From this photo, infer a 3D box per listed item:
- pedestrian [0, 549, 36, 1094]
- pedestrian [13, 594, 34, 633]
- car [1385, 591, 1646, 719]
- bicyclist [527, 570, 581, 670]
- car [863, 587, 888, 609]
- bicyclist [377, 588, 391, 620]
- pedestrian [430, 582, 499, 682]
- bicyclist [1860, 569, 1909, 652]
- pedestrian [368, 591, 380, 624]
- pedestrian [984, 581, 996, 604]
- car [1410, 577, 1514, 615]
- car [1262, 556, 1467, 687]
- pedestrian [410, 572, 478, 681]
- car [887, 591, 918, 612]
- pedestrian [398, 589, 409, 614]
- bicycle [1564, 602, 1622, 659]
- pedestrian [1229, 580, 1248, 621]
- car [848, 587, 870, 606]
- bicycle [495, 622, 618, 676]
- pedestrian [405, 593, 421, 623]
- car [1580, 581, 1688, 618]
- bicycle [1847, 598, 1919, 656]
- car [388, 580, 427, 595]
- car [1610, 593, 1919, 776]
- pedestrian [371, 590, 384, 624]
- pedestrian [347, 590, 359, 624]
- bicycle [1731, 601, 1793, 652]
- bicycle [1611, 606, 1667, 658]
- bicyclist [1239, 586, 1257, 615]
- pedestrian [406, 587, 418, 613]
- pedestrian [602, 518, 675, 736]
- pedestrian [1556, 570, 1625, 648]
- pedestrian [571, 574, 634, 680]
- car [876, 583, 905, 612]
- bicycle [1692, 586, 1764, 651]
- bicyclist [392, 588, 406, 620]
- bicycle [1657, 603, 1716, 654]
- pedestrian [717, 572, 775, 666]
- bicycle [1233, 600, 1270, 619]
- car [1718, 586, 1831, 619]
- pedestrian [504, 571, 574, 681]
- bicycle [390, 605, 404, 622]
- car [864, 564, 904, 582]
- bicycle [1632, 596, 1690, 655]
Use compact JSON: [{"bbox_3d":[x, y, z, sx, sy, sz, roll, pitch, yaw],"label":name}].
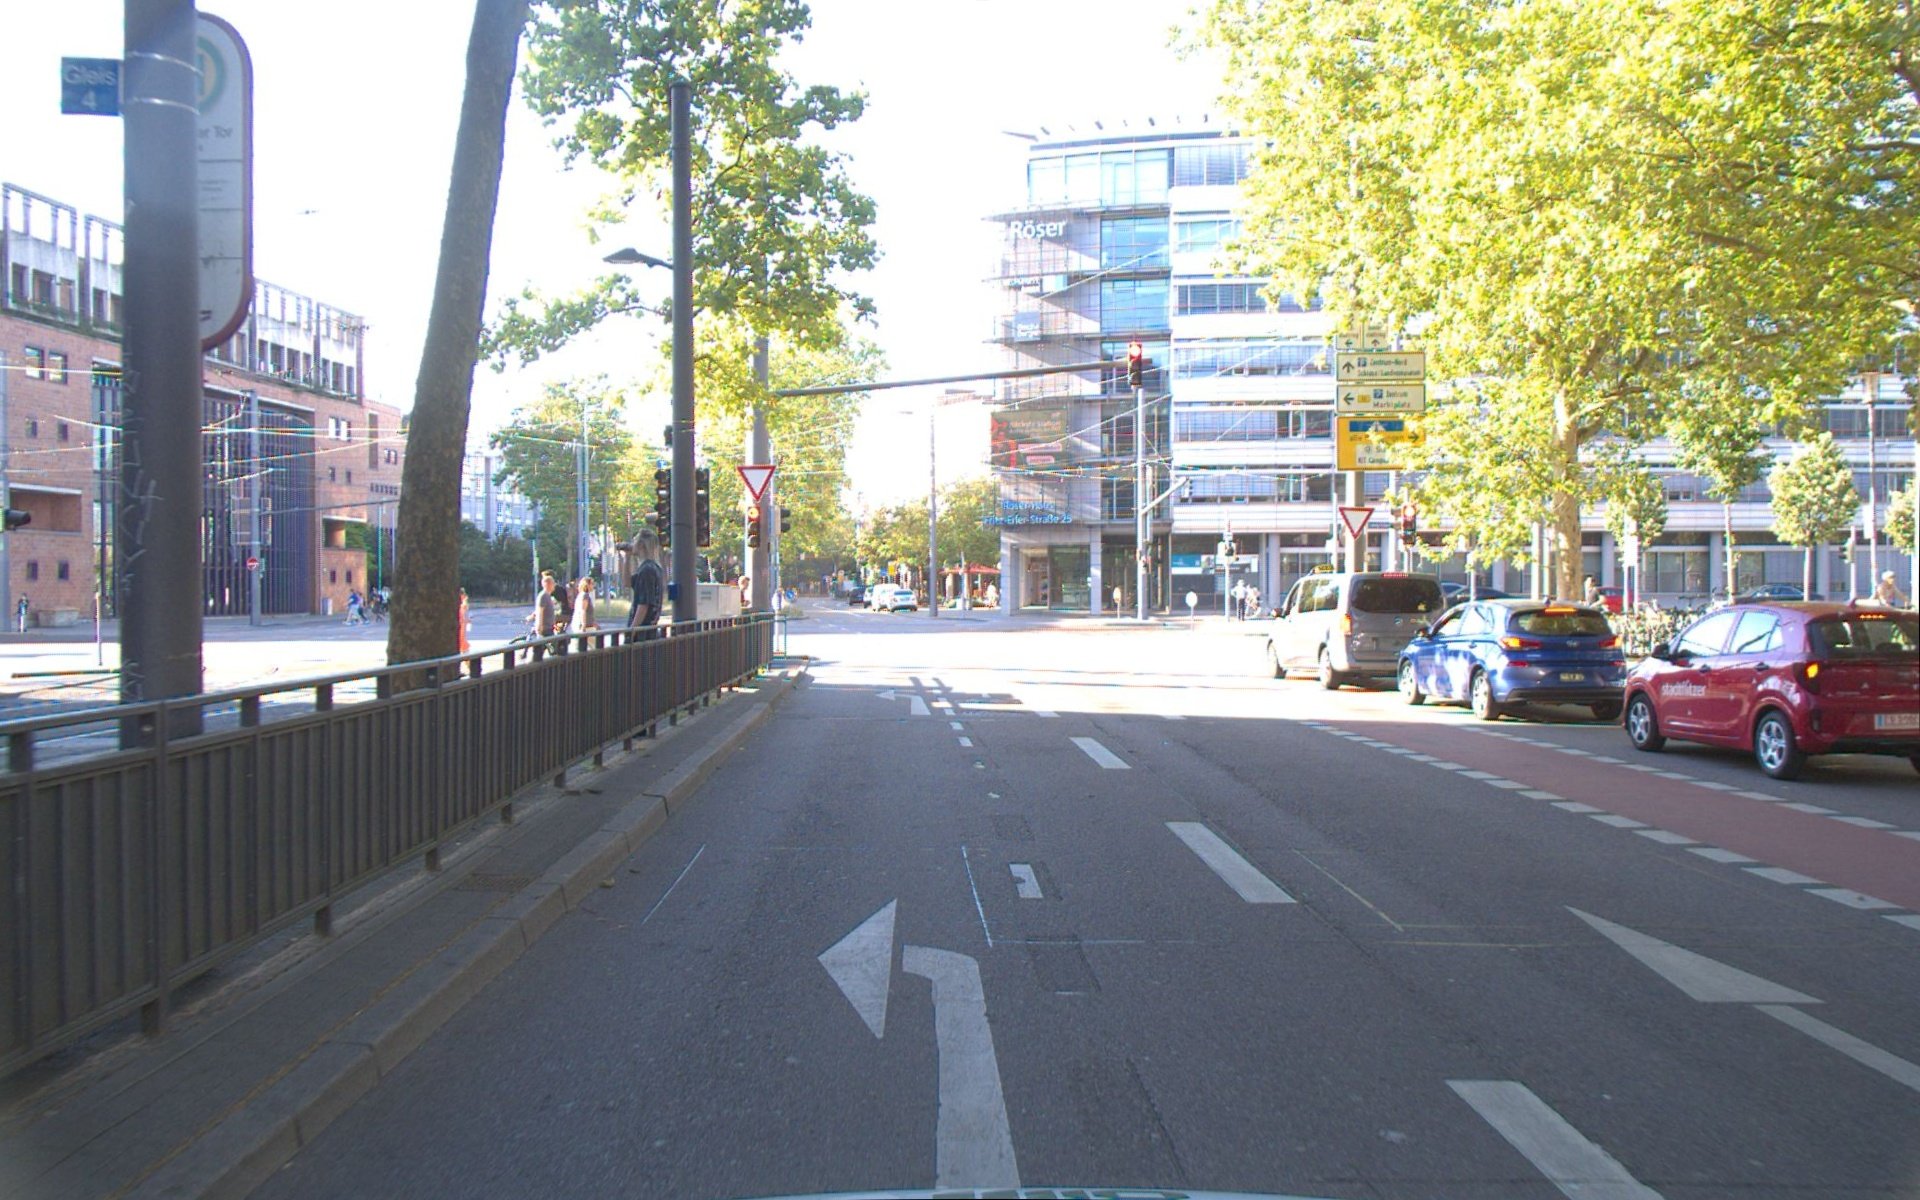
[{"bbox_3d":[-2.981,0.569,4.110,0.956,1.424,0.664,1,-1,1],"label":"pedestrian"},{"bbox_3d":[-40.433,0.579,71.393,0.533,1.641,0.570,-1,0,27],"label":"pedestrian"},{"bbox_3d":[7.154,0.637,21.788,1.730,1.489,4.213,-1,0,-5],"label":"car"},{"bbox_3d":[-7.493,0.355,30.555,0.833,1.816,0.752,-1,0,-5],"label":"bicyclist"},{"bbox_3d":[-6.700,-0.169,131.104,1.954,1.691,3.997,-1,0,-4],"label":"car"},{"bbox_3d":[-31.246,0.195,89.720,0.582,1.705,0.788,-1,0,-10],"label":"bicyclist"},{"bbox_3d":[-8.568,0.554,28.646,1.053,1.711,0.756,1,0,-11],"label":"pedestrian"},{"bbox_3d":[18.791,0.208,33.617,0.550,1.644,0.822,-1,0,3],"label":"bicyclist"},{"bbox_3d":[-29.894,0.378,84.440,0.529,1.679,0.621,-1,0,-22],"label":"pedestrian"},{"bbox_3d":[1.938,-0.466,106.531,0.725,1.491,0.536,-1,0,-5],"label":"pedestrian"},{"bbox_3d":[22.672,-0.184,74.835,4.153,1.630,1.796,-1,0,1],"label":"car"},{"bbox_3d":[6.785,0.324,28.387,1.954,2.000,5.134,1,0,-4],"label":"car"},{"bbox_3d":[-9.134,0.463,29.299,1.054,1.904,0.737,1,0,-11],"label":"pedestrian"},{"bbox_3d":[-3.814,0.073,109.011,1.954,1.355,3.997,-1,0,-4],"label":"car"},{"bbox_3d":[-39.340,0.100,116.887,0.511,1.810,0.546,-1,0,3],"label":"pedestrian"},{"bbox_3d":[12.830,0.601,33.555,0.479,1.112,1.475,-1,0,-5],"label":"bicycle"},{"bbox_3d":[11.747,0.033,69.685,0.705,1.711,0.557,1,0,3],"label":"pedestrian"},{"bbox_3d":[-9.335,-0.314,152.555,1.954,1.691,3.997,-1,0,-4],"label":"car"},{"bbox_3d":[-7.439,0.895,30.559,2.135,0.950,0.667,0,0,-6],"label":"bicycle"},{"bbox_3d":[-28.441,0.415,85.991,0.741,1.557,0.507,1,0,-11],"label":"pedestrian"},{"bbox_3d":[30.212,-0.037,74.211,4.152,1.587,1.796,-1,0,2],"label":"car"},{"bbox_3d":[18.800,0.534,33.713,0.554,1.146,1.779,-1,0,3],"label":"bicycle"},{"bbox_3d":[-62.434,-1.435,186.951,3.953,1.579,1.587,1,-1,-35],"label":"car"},{"bbox_3d":[7.610,0.689,15.373,1.528,1.490,3.619,0,0,-4],"label":"car"},{"bbox_3d":[-29.252,0.337,83.051,0.529,1.679,0.621,-1,0,-22],"label":"pedestrian"},{"bbox_3d":[-30.145,0.327,82.184,0.529,1.679,0.621,-1,0,-22],"label":"pedestrian"},{"bbox_3d":[16.412,0.537,33.875,0.441,1.000,1.475,-1,0,-5],"label":"bicycle"},{"bbox_3d":[13.746,0.636,33.518,0.412,0.996,1.475,-1,0,-5],"label":"bicycle"},{"bbox_3d":[13.946,0.030,80.073,0.802,1.390,0.400,-1,0,2],"label":"bicyclist"},{"bbox_3d":[-39.141,0.004,118.167,0.628,1.842,0.546,-1,0,3],"label":"pedestrian"},{"bbox_3d":[-2.931,0.245,15.125,0.499,1.933,0.759,1,-1,-3],"label":"pedestrian"},{"bbox_3d":[15.379,0.227,40.357,1.186,1.854,1.040,1,-1,-9],"label":"pedestrian"},{"bbox_3d":[-6.290,0.478,29.134,1.052,1.837,0.756,1,0,-11],"label":"pedestrian"},{"bbox_3d":[-4.873,-0.190,115.764,1.954,2.026,3.997,-1,0,-4],"label":"car"},{"bbox_3d":[15.731,0.364,33.926,0.441,1.309,1.885,-1,0,-5],"label":"bicycle"},{"bbox_3d":[-30.517,0.211,90.026,0.582,1.705,0.788,-1,0,-10],"label":"bicyclist"},{"bbox_3d":[14.880,0.574,33.899,0.441,1.000,1.475,-1,0,-5],"label":"bicycle"},{"bbox_3d":[-4.049,0.364,31.298,1.053,1.745,0.627,1,0,-7],"label":"pedestrian"},{"bbox_3d":[14.113,0.449,80.070,1.705,0.915,0.409,-1,0,2],"label":"bicycle"},{"bbox_3d":[36.447,0.107,74.062,4.152,1.417,1.796,-1,0,4],"label":"car"},{"bbox_3d":[-7.492,0.457,29.487,1.124,1.927,0.831,1,0,-11],"label":"pedestrian"},{"bbox_3d":[-30.612,0.732,89.961,0.503,0.897,1.834,-1,0,-11],"label":"bicycle"},{"bbox_3d":[-7.629,-2.698,165.872,3.681,1.780,1.783,1,0,11],"label":"car"},{"bbox_3d":[14.269,0.497,33.688,0.441,1.164,1.475,-1,0,-5],"label":"bicycle"}]
